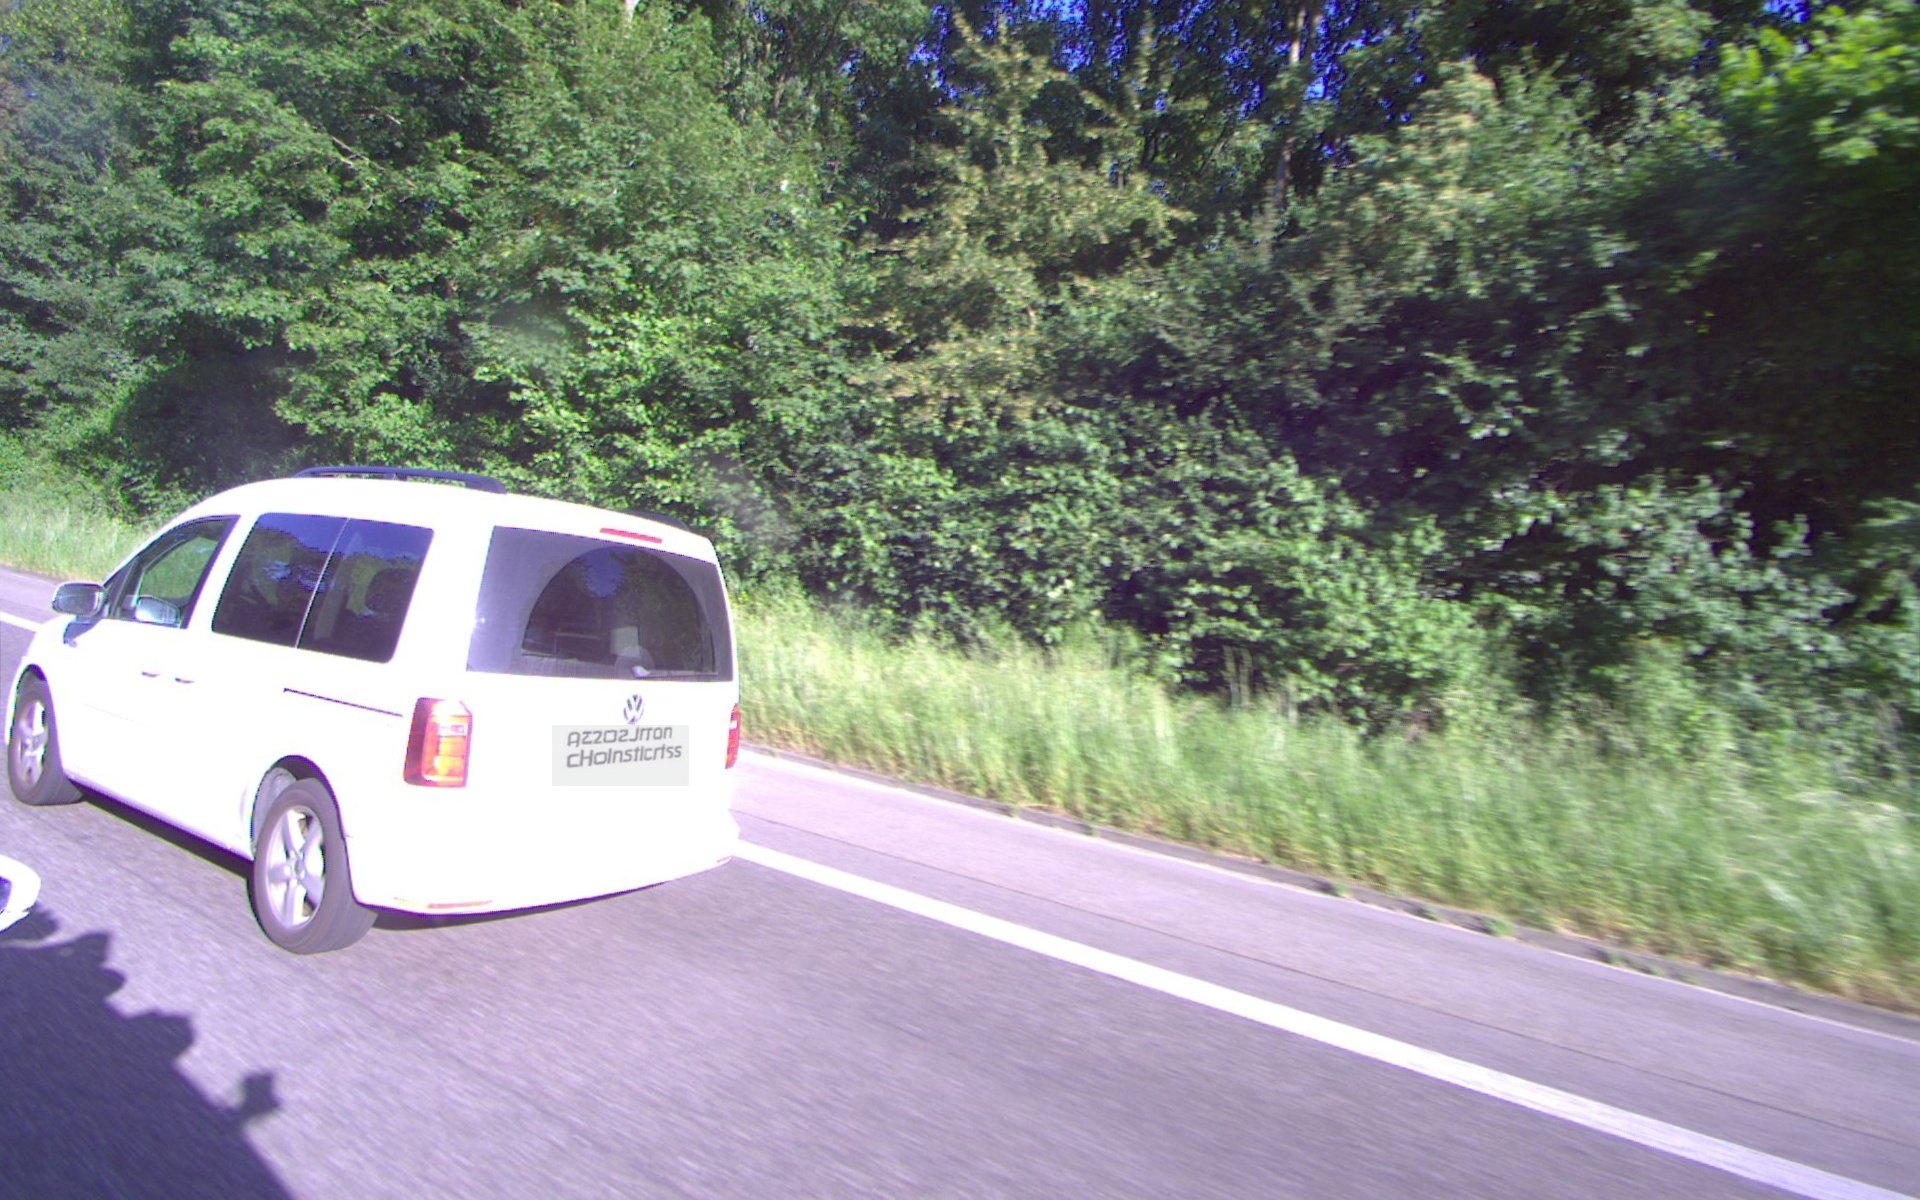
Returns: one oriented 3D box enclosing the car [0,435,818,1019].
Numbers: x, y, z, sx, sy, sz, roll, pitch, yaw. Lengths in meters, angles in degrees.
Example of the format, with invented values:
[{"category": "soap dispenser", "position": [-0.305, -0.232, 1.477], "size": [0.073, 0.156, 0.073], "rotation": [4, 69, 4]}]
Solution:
[{"category": "car", "position": [-3.149, 0.295, 5.152], "size": [4.511, 1.834, 1.802], "rotation": [6, -2, 31]}]
